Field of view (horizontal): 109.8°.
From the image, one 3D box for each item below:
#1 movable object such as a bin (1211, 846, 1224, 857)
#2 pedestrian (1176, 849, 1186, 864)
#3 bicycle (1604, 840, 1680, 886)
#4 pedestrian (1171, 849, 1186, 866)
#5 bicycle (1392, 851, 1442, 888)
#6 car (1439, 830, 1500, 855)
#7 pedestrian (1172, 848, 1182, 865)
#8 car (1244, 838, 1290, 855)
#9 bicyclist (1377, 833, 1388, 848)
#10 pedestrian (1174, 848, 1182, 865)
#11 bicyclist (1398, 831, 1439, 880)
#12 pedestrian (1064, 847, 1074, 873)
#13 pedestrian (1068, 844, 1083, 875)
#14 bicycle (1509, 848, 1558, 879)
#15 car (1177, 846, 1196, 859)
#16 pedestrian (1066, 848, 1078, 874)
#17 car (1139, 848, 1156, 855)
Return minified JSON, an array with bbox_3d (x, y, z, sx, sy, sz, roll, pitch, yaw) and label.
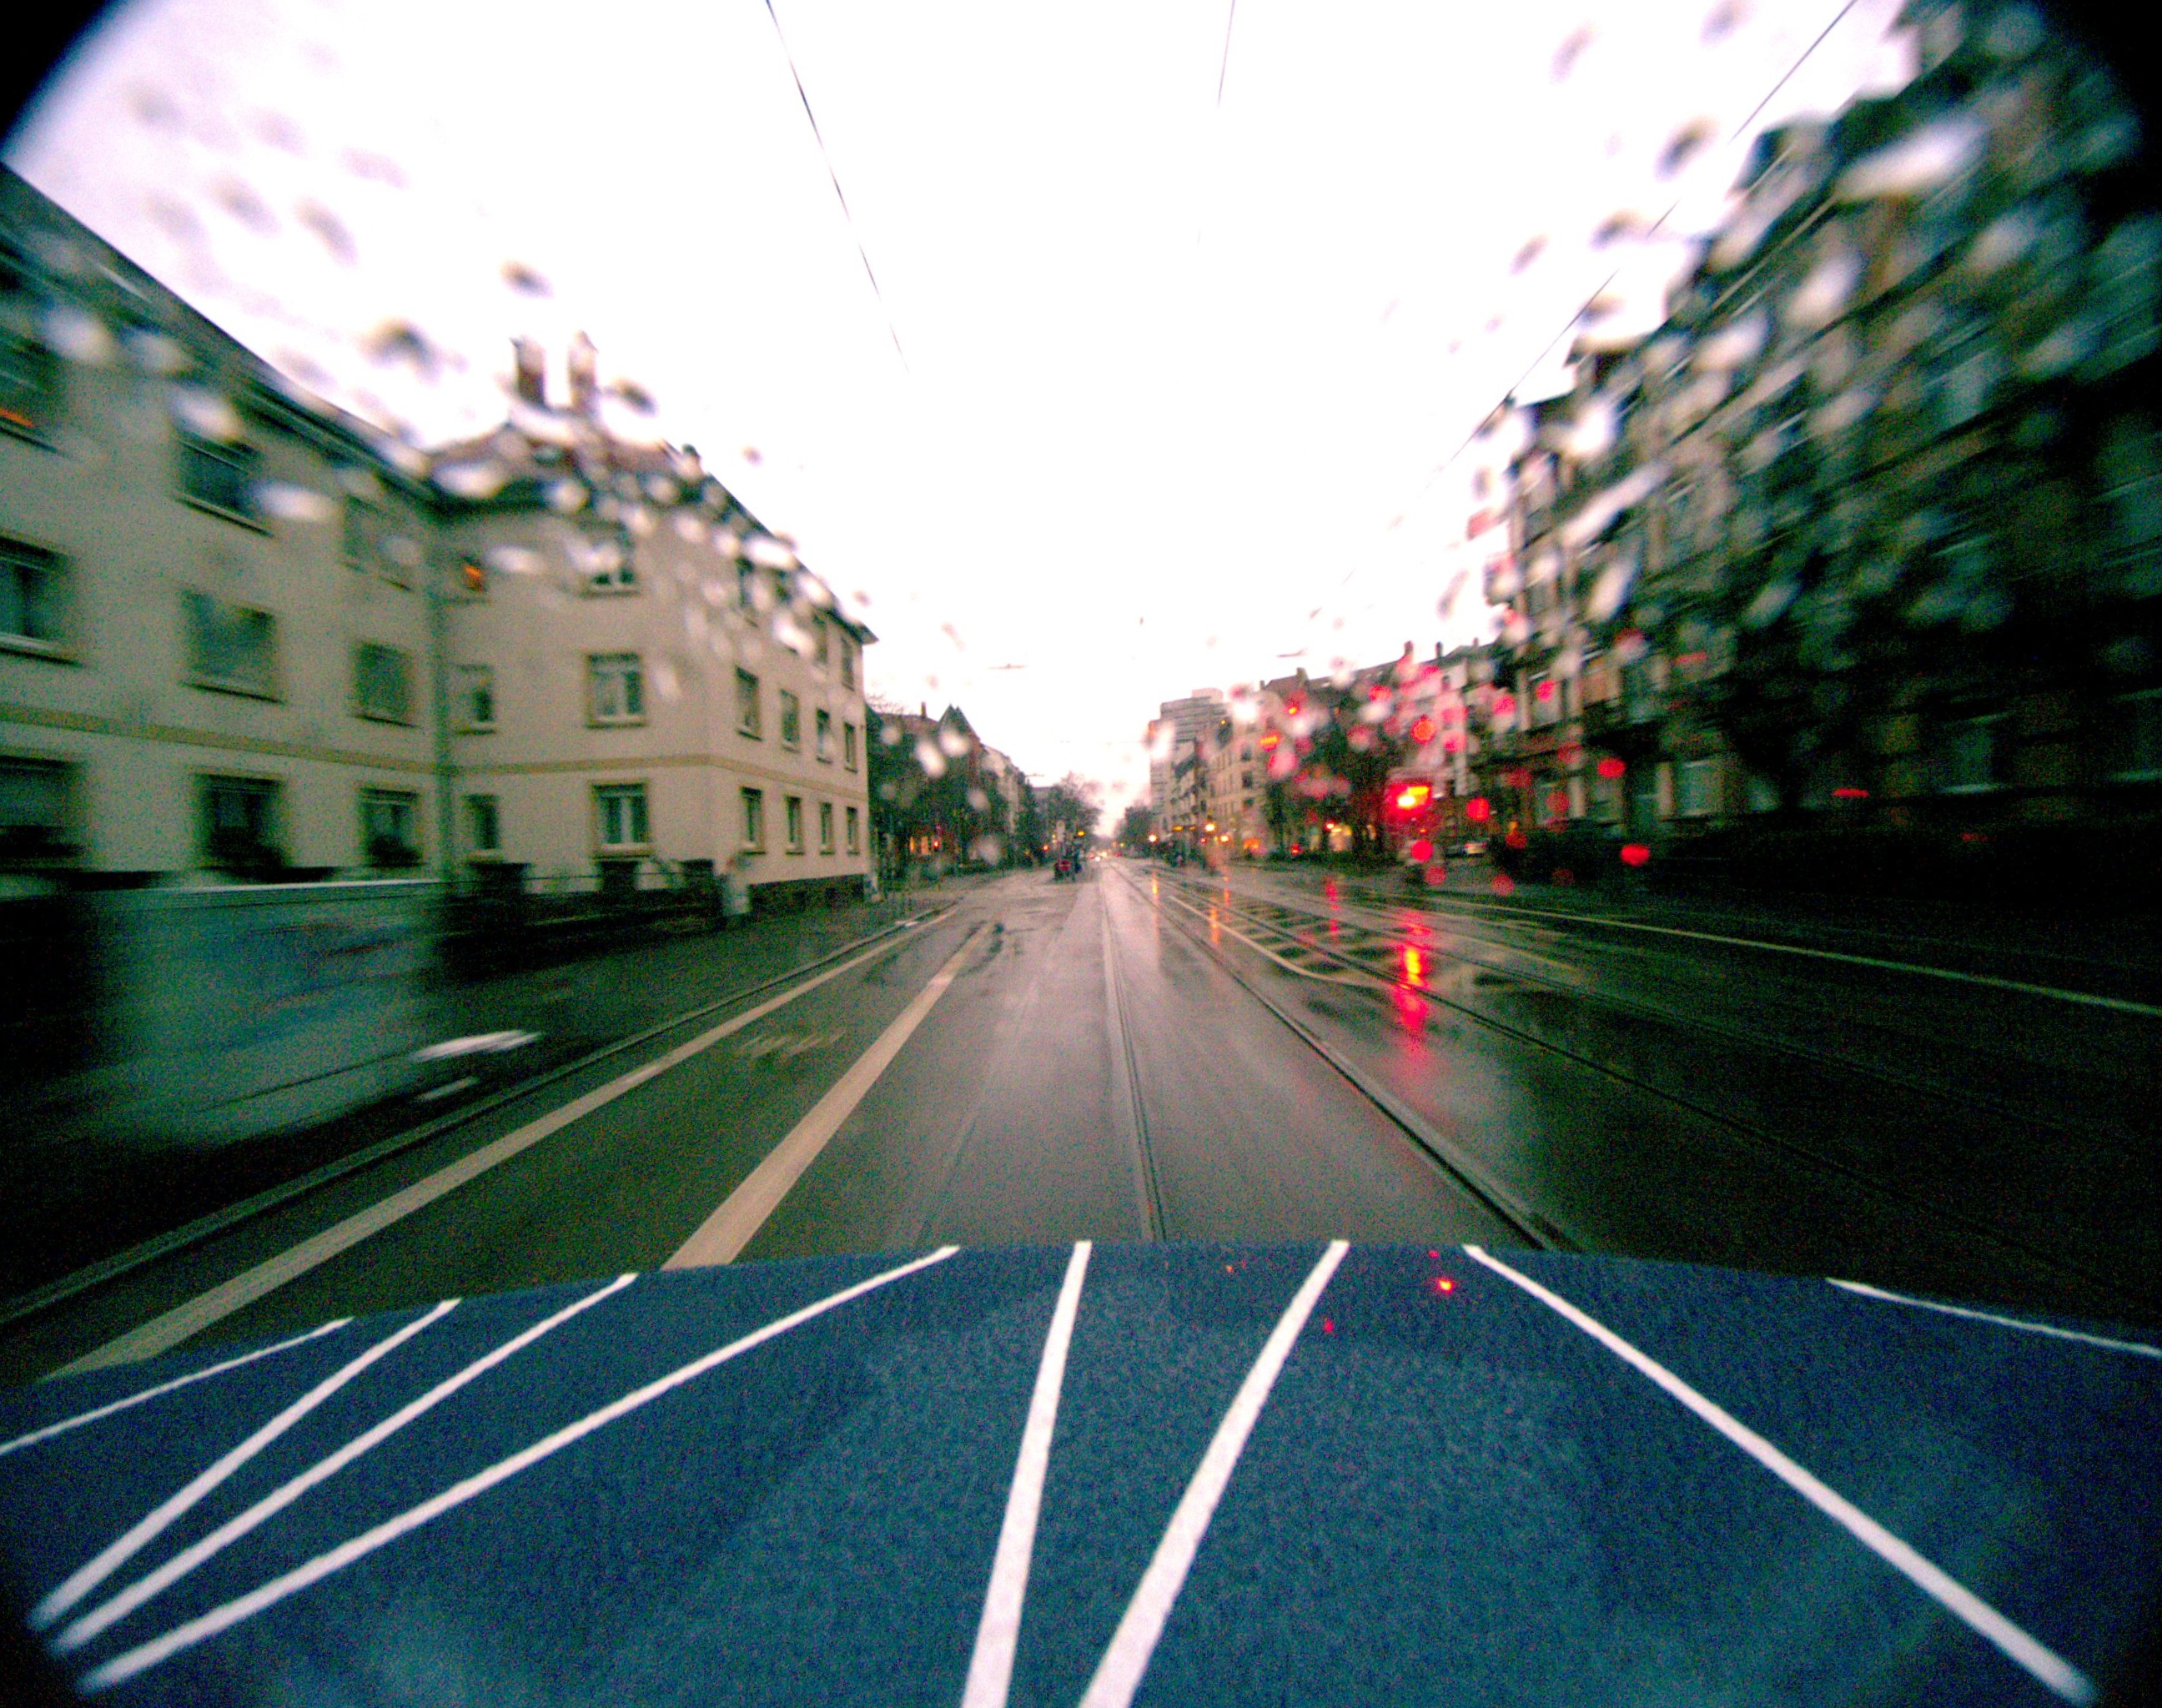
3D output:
[{"bbox_3d":[18.578,-0.339,103.296,1.352,1.364,1.281,-5,1,0],"label":"movable object such as a bin"},{"bbox_3d":[8.161,0.215,61.723,0.654,1.211,0.517,-5,1,1],"label":"pedestrian"},{"bbox_3d":[12.916,0.184,17.555,0.417,1.001,1.849,-3,1,3],"label":"bicycle"},{"bbox_3d":[8.012,0.283,62.404,1.058,1.247,0.506,-5,1,1],"label":"pedestrian"},{"bbox_3d":[9.803,0.435,22.225,0.683,1.001,1.803,-3,1,3],"label":"bicycle"},{"bbox_3d":[29.602,-0.834,57.975,1.881,1.761,3.856,-2,0,-21],"label":"car"},{"bbox_3d":[8.066,0.181,63.963,0.685,1.395,0.578,-5,1,1],"label":"pedestrian"},{"bbox_3d":[19.357,-0.792,78.924,4.334,1.574,1.940,-3,1,20],"label":"car"},{"bbox_3d":[27.127,-1.199,68.285,0.531,1.356,0.765,-4,1,-11],"label":"bicyclist"},{"bbox_3d":[8.094,0.185,63.444,0.474,1.395,0.453,-5,1,1],"label":"pedestrian"},{"bbox_3d":[9.771,0.039,22.031,0.706,1.356,0.944,-4,1,3],"label":"bicyclist"},{"bbox_3d":[-0.851,0.446,54.950,0.558,1.797,0.571,-5,1,2],"label":"pedestrian"},{"bbox_3d":[-0.378,0.358,49.532,0.689,1.906,0.717,-5,1,-10],"label":"pedestrian"},{"bbox_3d":[13.294,0.262,22.380,0.400,0.857,1.849,-3,1,3],"label":"bicycle"},{"bbox_3d":[14.430,-0.188,103.623,1.677,1.507,3.677,-5,1,-5],"label":"car"},{"bbox_3d":[-0.630,0.498,52.047,0.659,1.698,0.571,-5,1,2],"label":"pedestrian"},{"bbox_3d":[15.435,-0.586,176.329,3.839,1.405,1.727,-2,0,2],"label":"car"}]
